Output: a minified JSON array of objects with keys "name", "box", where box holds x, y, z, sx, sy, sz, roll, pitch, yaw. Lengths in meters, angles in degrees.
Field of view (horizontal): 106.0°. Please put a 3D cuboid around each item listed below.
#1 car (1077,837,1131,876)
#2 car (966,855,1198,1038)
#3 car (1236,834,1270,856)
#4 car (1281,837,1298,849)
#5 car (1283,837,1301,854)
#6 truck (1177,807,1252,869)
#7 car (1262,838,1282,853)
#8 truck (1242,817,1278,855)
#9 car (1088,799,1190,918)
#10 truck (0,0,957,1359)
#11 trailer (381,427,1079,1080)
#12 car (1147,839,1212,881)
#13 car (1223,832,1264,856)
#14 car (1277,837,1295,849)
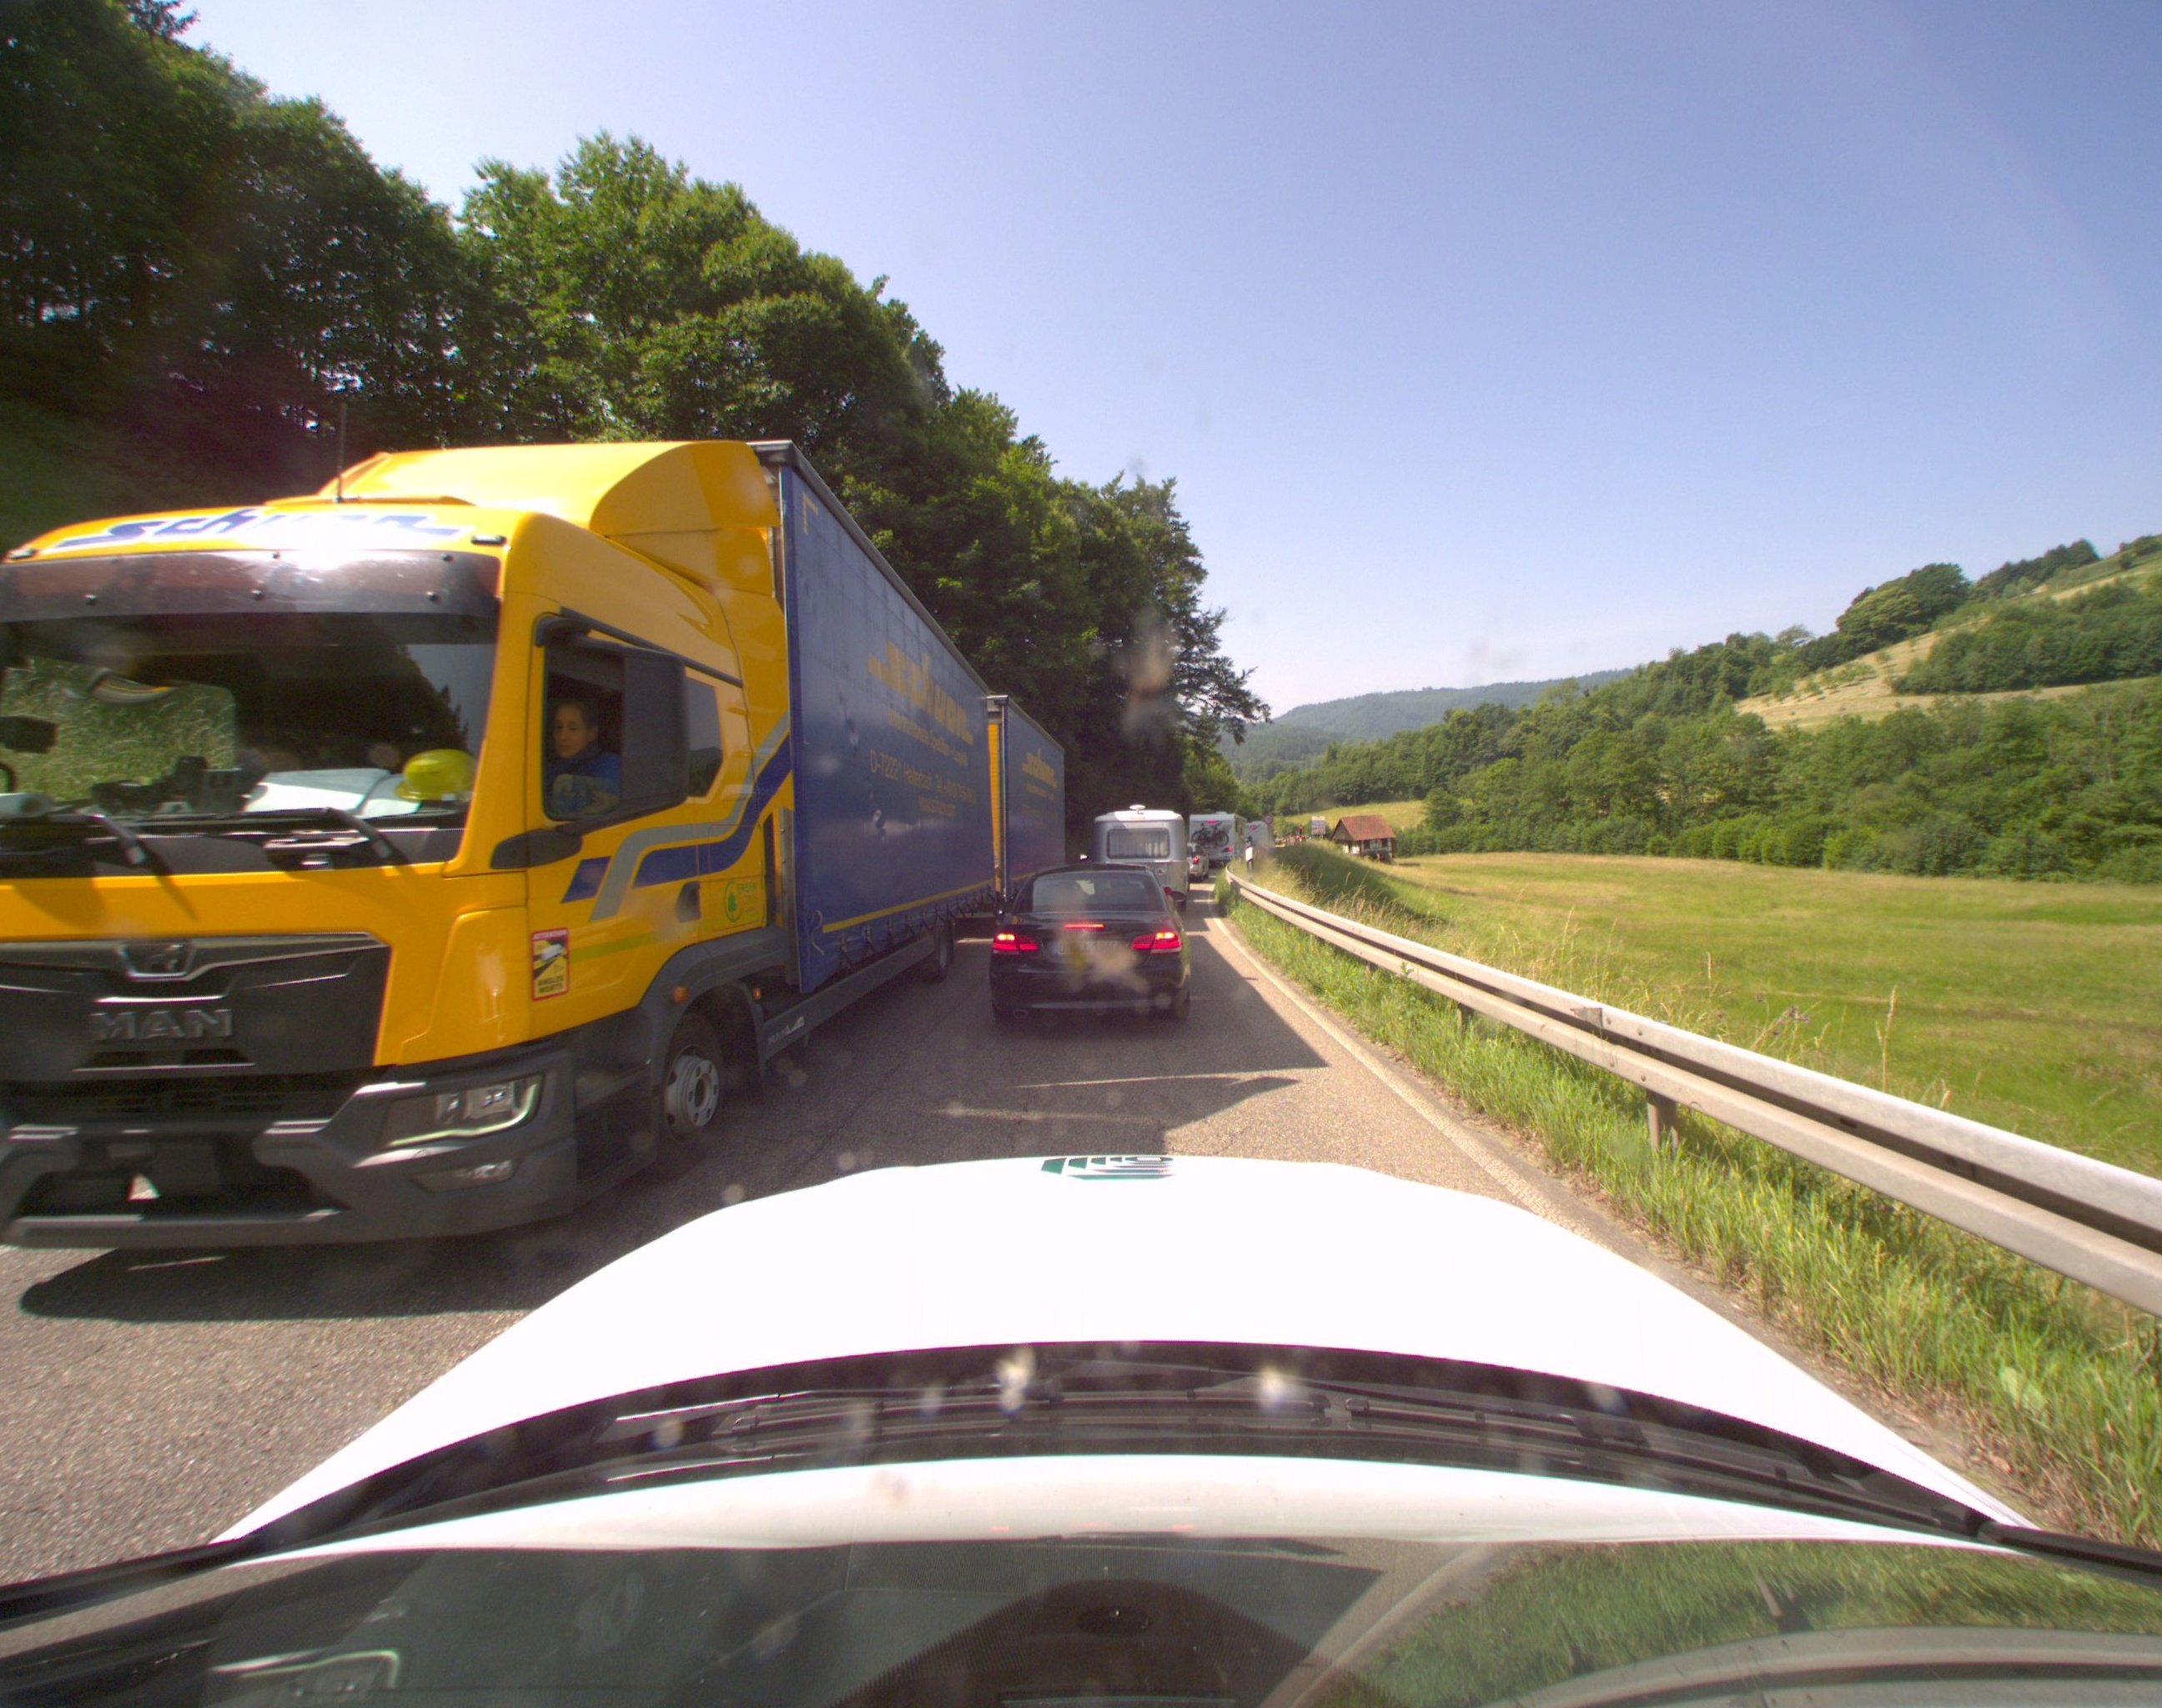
[{"name":"car","box":[1.069,0.052,35.649,1.811,1.584,4.093,1,1,9]},{"name":"car","box":[0.148,0.722,8.130,1.763,1.335,3.772,-1,1,4]},{"name":"car","box":[12.266,-0.685,57.986,1.772,1.464,4.021,1,2,20]},{"name":"car","box":[31.434,-1.595,122.607,1.977,1.684,4.020,0,0,21]},{"name":"car","box":[24.777,-0.968,95.566,1.979,1.925,4.016,2,0,15]},{"name":"truck","box":[7.163,-0.890,42.934,2.768,2.997,6.901,1,2,18]},{"name":"car","box":[20.379,-0.865,86.722,1.892,1.486,4.016,0,0,15]},{"name":"truck","box":[14.197,-1.336,64.266,2.220,2.804,6.260,0,0,17]},{"name":"car","box":[1.453,0.042,18.632,1.983,2.352,4.924,-1,1,7]},{"name":"truck","box":[-3.164,-0.678,5.893,3.175,4.396,6.577,0,2,3]},{"name":"trailer","box":[-2.502,-0.841,13.292,3.243,4.417,15.344,0,1,6]},{"name":"car","box":[3.806,0.177,30.898,1.979,1.484,4.015,1,1,14]},{"name":"car","box":[10.509,-0.656,52.475,1.977,1.464,4.020,1,2,19]},{"name":"car","box":[27.707,-1.493,110.001,1.977,1.575,4.020,0,0,20]}]
